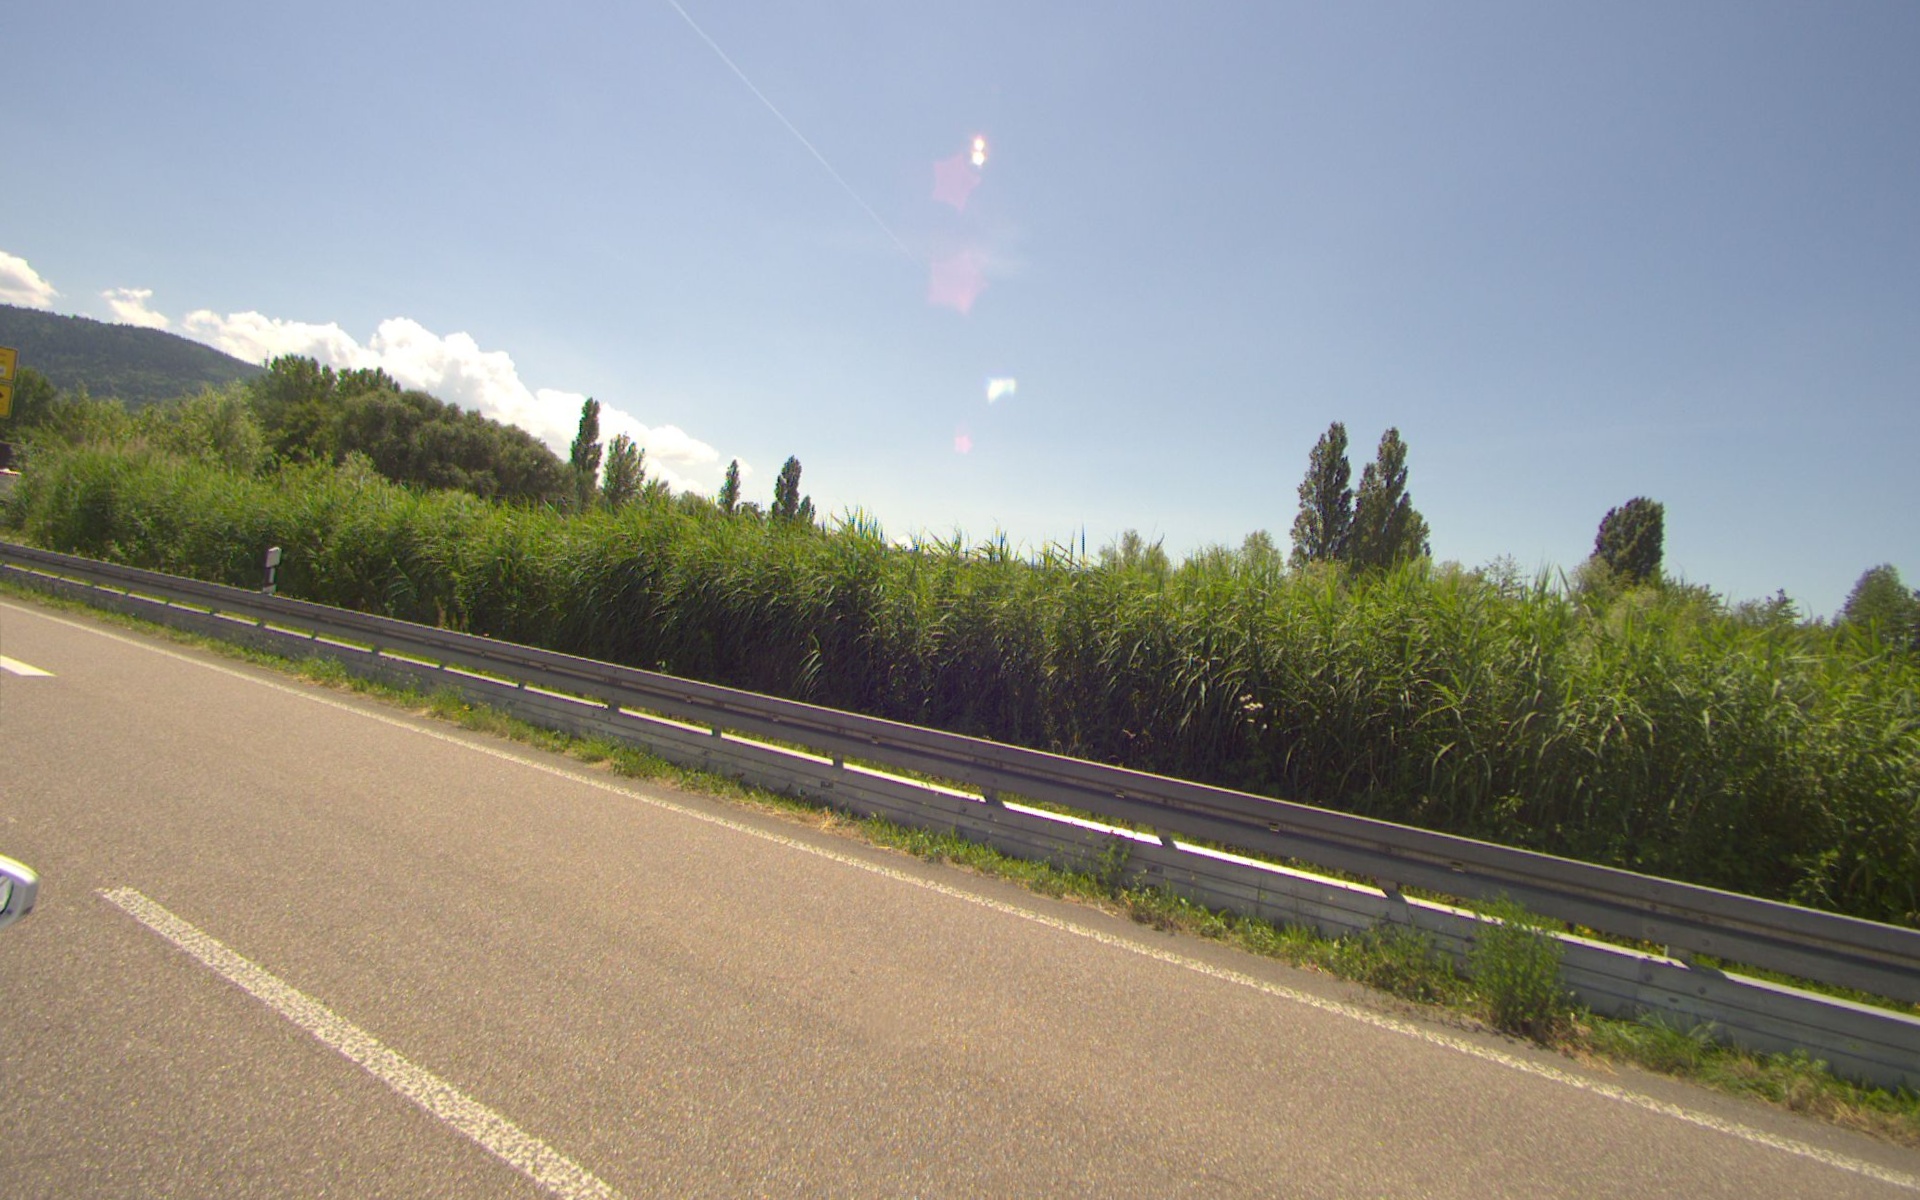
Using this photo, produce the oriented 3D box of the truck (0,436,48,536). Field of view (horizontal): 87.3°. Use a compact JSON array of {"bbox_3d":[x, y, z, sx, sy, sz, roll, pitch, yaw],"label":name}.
[{"bbox_3d":[-37.886,-4.591,35.876,2.194,3.549,7.417,8,1,29],"label":"truck"}]
